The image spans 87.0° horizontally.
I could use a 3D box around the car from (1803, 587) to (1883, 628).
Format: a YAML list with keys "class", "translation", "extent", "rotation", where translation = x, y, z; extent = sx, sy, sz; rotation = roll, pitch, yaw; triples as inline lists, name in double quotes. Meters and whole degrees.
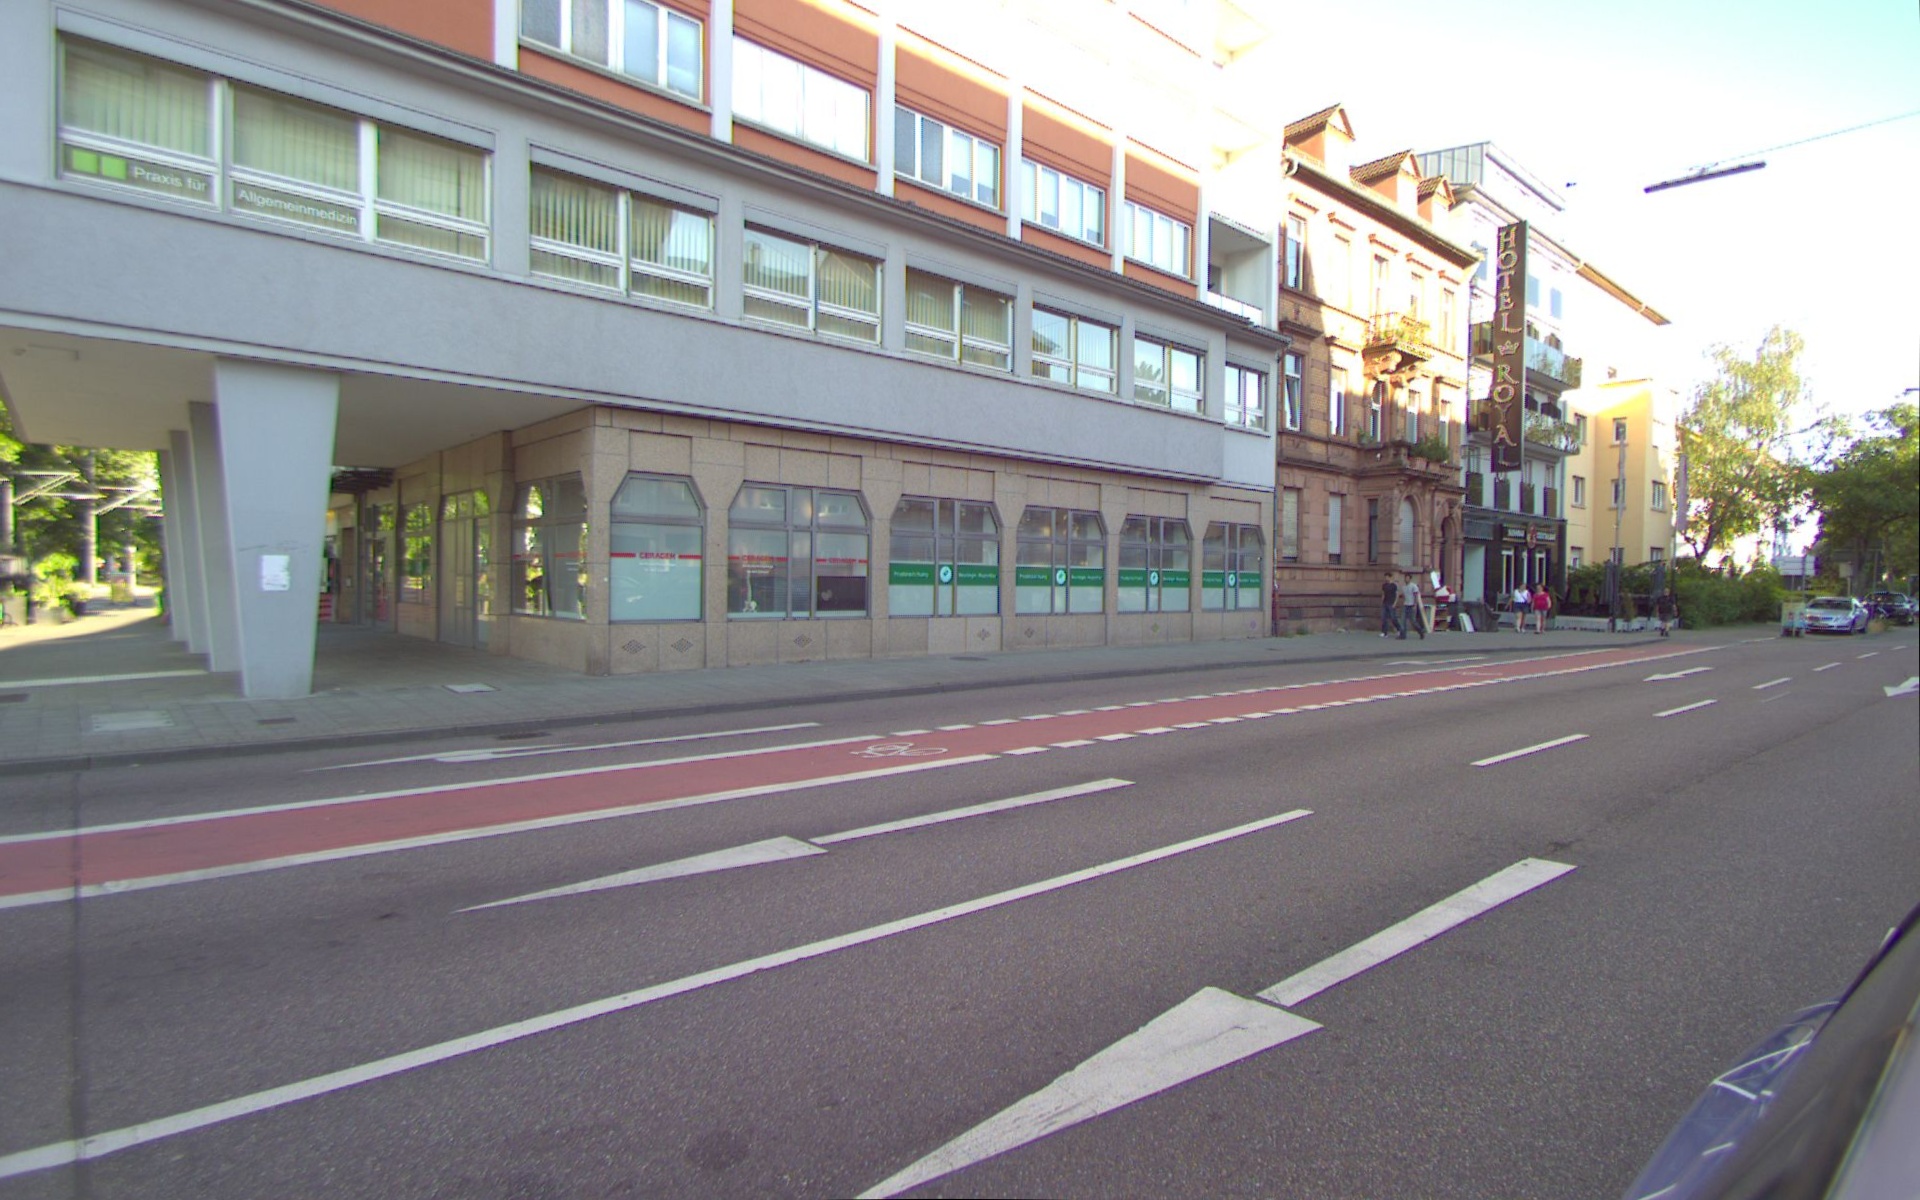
- class: "car"
  translation: [35.879, 0.263, 41.086]
  extent: [4.003, 1.536, 1.905]
  rotation: [0, 1, -41]

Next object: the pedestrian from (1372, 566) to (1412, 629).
- class: "pedestrian"
  translation: [12.322, -0.076, 28.872]
  extent: [0.993, 1.747, 0.667]
  rotation: [0, 1, -41]

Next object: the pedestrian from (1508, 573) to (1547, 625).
- class: "pedestrian"
  translation: [18.567, -0.045, 33.106]
  extent: [0.785, 1.606, 0.996]
  rotation: [7, 5, 42]

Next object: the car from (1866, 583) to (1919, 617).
- class: "car"
  translation: [47.571, -0.012, 51.297]
  extent: [4.121, 1.645, 1.946]
  rotation: [0, 1, -42]

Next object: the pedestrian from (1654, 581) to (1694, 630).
- class: "pedestrian"
  translation: [24.406, 0.170, 34.590]
  extent: [0.992, 1.621, 0.739]
  rotation: [0, 4, -37]

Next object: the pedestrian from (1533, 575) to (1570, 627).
- class: "pedestrian"
  translation: [19.075, 0.021, 32.637]
  extent: [0.736, 1.606, 0.996]
  rotation: [7, 5, 42]

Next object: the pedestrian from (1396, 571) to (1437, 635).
- class: "pedestrian"
  translation: [12.760, 0.067, 28.286]
  extent: [0.993, 1.747, 0.667]
  rotation: [0, 1, -41]

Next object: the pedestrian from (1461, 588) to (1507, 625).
- class: "pedestrian"
  translation: [16.934, 0.209, 32.711]
  extent: [0.909, 1.150, 1.099]
  rotation: [0, 1, -43]
